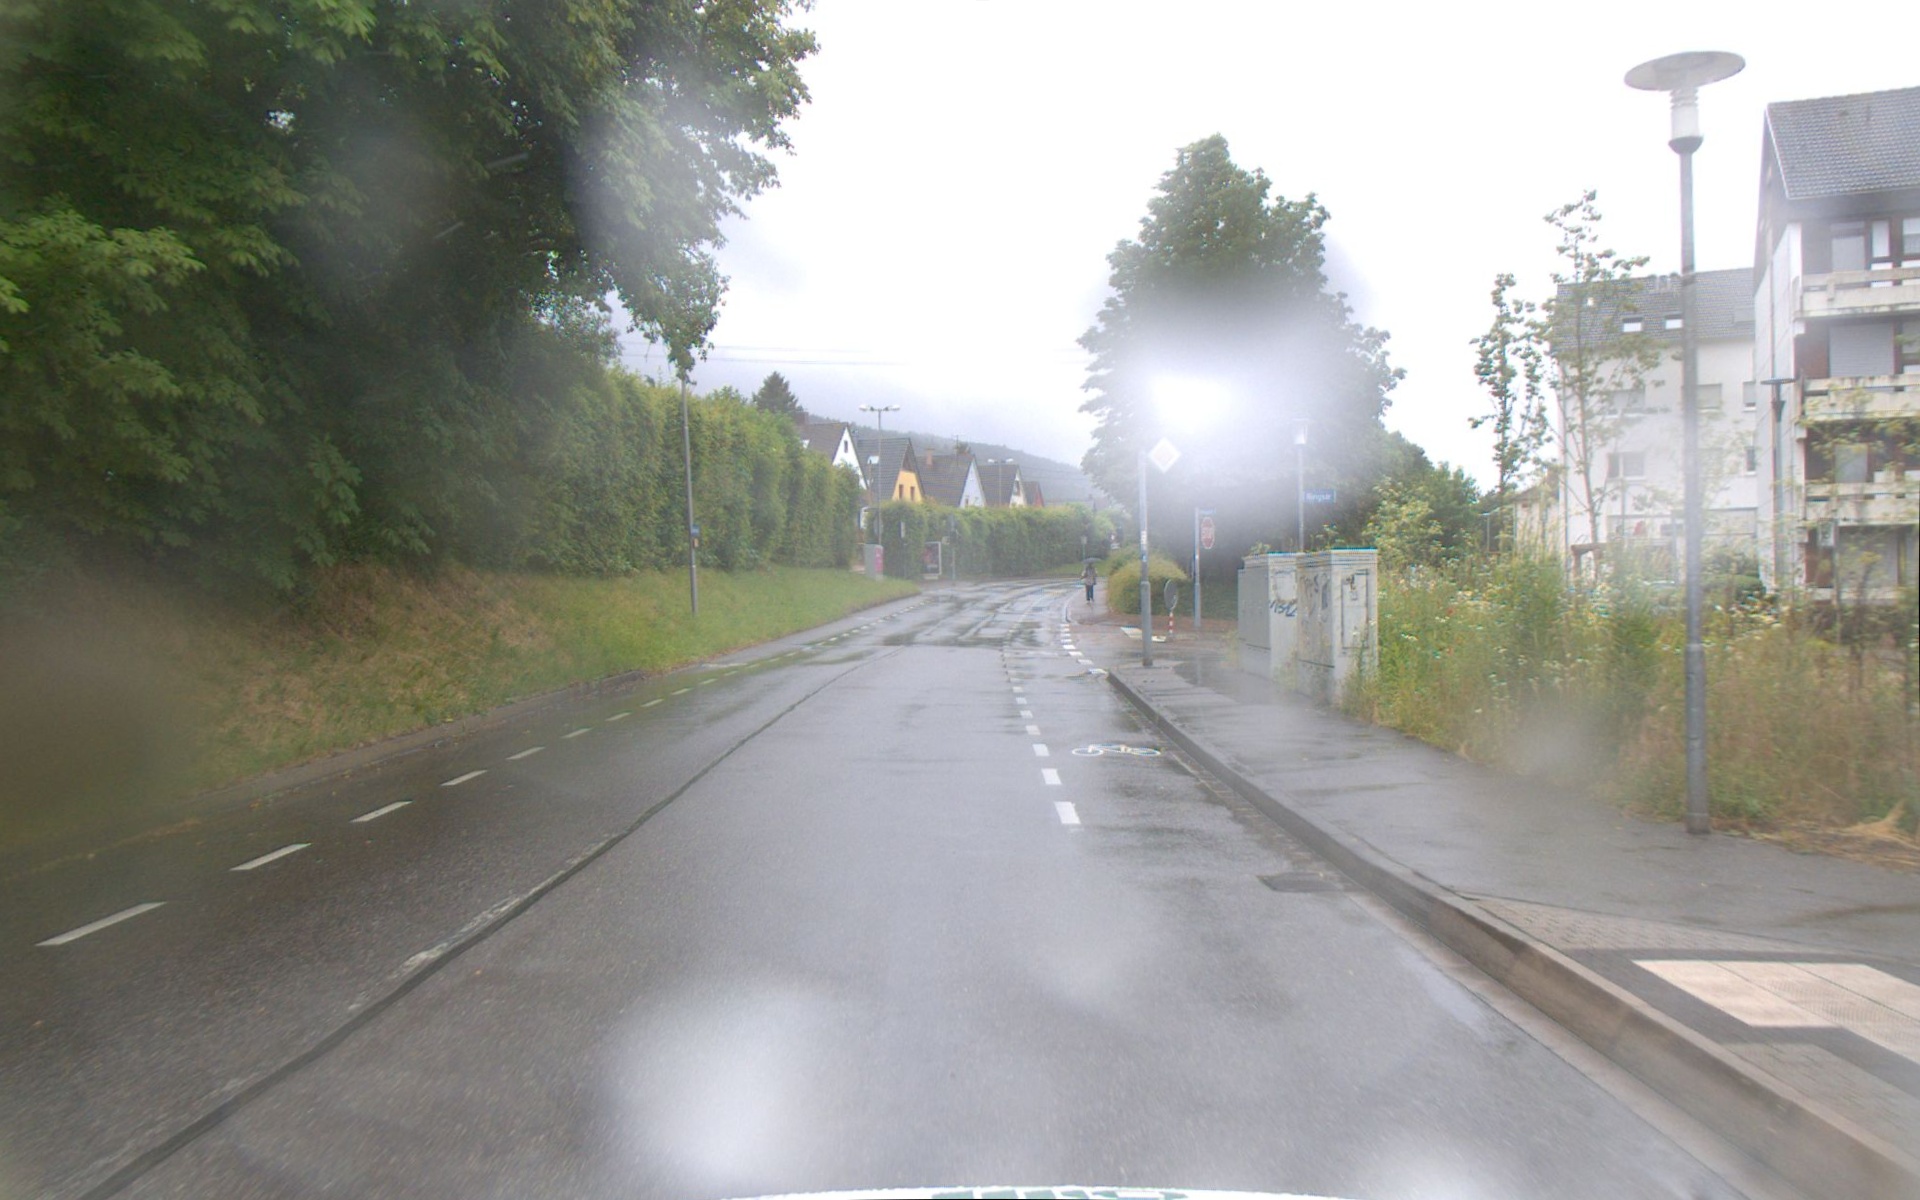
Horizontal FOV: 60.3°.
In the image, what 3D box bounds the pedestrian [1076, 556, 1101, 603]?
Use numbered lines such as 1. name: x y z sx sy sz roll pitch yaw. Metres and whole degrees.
1. pedestrian: 4.827 -0.764 62.095 0.900 1.704 1.058 -2 1 5
